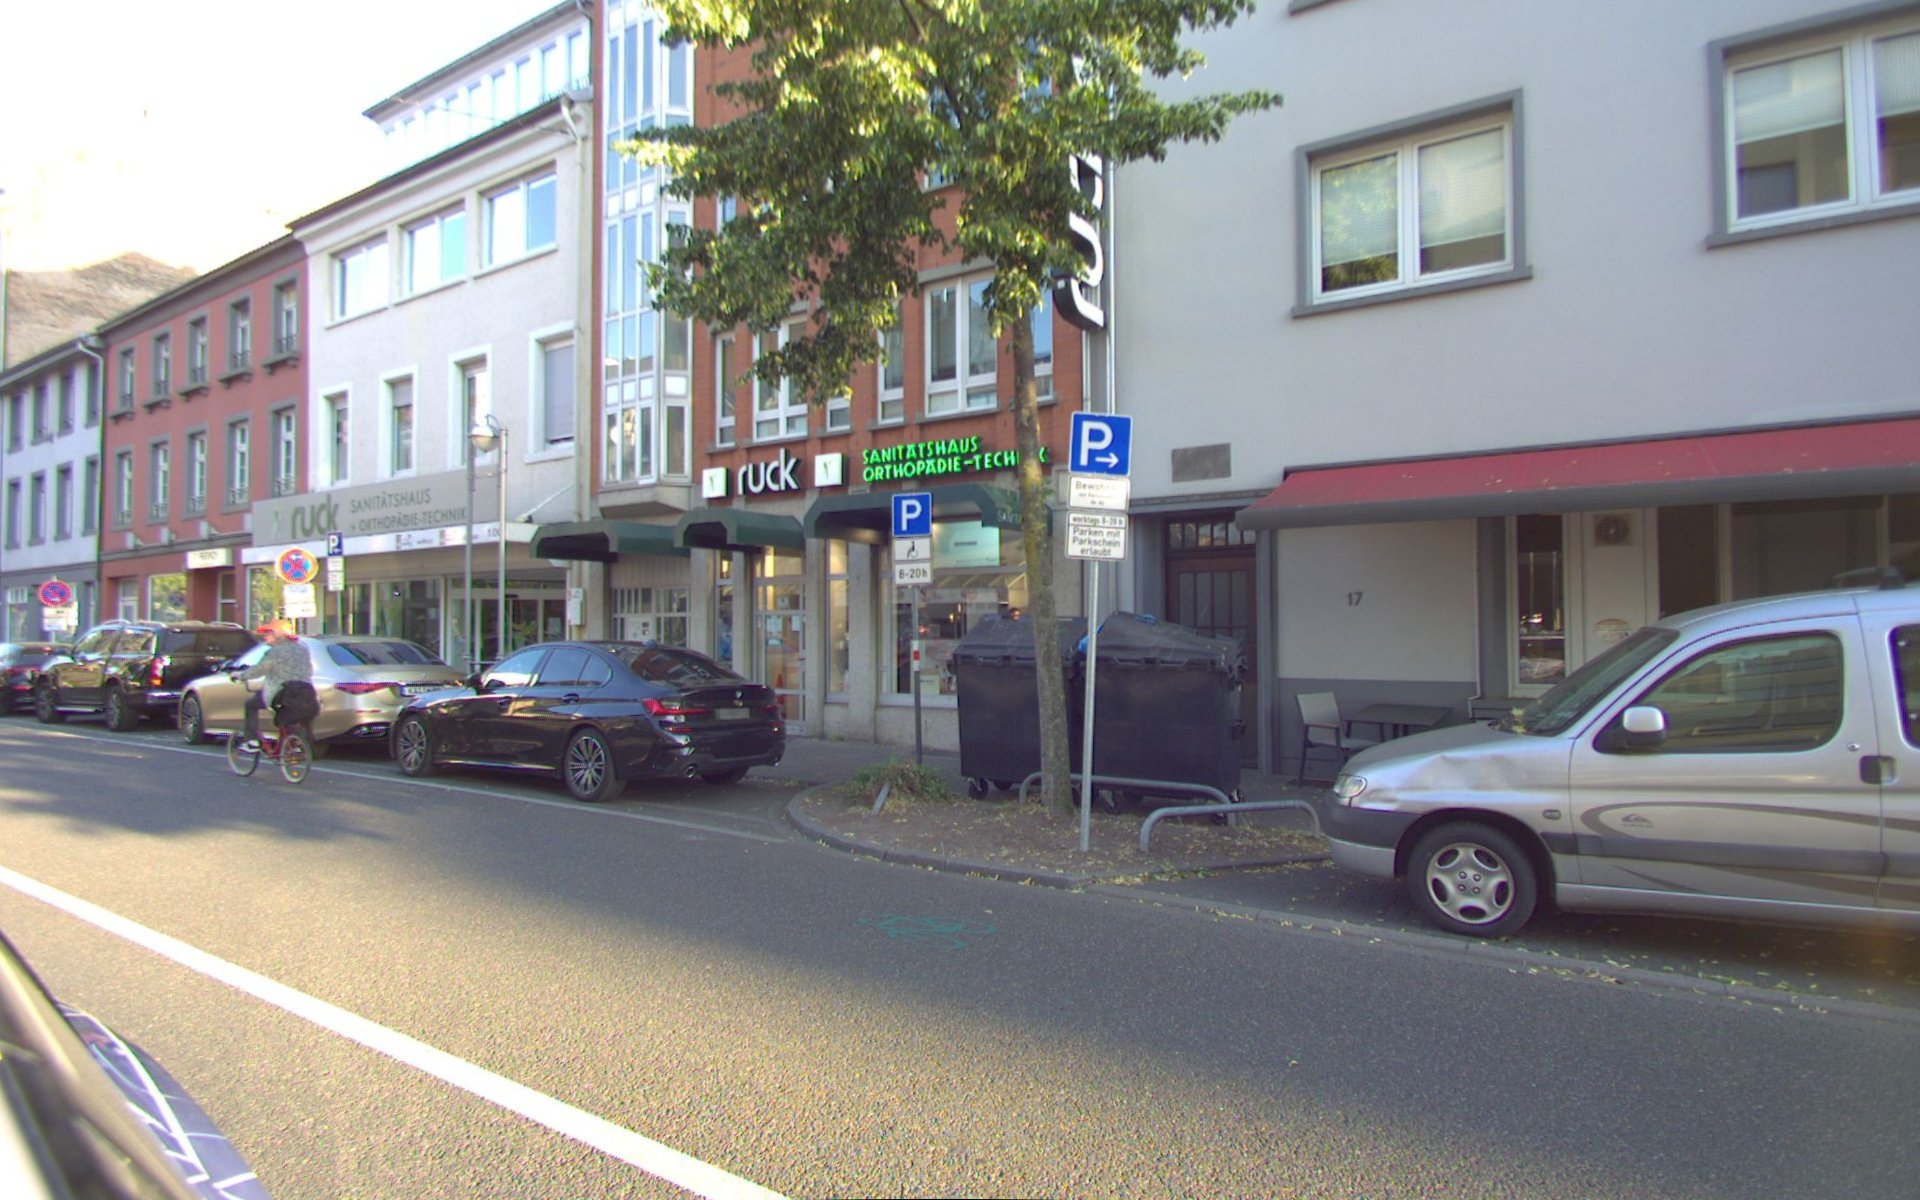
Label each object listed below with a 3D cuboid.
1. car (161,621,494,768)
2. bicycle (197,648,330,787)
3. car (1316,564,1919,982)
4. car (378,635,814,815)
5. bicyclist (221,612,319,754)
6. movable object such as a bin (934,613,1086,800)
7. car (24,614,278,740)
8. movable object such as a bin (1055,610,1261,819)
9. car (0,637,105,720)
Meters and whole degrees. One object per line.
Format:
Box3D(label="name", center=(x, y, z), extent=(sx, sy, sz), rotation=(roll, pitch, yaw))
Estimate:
Box3D(label="car", center=(-8.429, 1.140, 13.341), extent=(4.931, 1.612, 1.875), rotation=(-2, -3, 34))
Box3D(label="bicycle", center=(-6.893, 1.120, 9.988), extent=(1.688, 1.246, 0.416), rotation=(-1, 0, 31))
Box3D(label="car", center=(3.982, 0.692, 4.966), extent=(3.984, 1.676, 1.703), rotation=(-1, 0, 30))
Box3D(label="car", center=(-3.726, 1.079, 10.132), extent=(4.403, 1.403, 1.786), rotation=(-1, -1, 32))
Box3D(label="bicyclist", center=(-6.738, 0.782, 9.888), extent=(0.658, 1.312, 0.563), rotation=(-1, 0, 32))
Box3D(label="movable object such as a bin", center=(0.447, 0.909, 9.048), extent=(1.097, 1.547, 0.740), rotation=(-2, -1, 33))
Box3D(label="car", center=(-13.977, 1.264, 17.407), extent=(4.932, 1.898, 1.952), rotation=(-2, -3, 33))
Box3D(label="movable object such as a bin", center=(1.620, 0.867, 8.313), extent=(1.480, 1.555, 0.745), rotation=(-1, 0, 33))
Box3D(label="car", center=(-19.185, 1.536, 20.569), extent=(3.831, 1.536, 1.718), rotation=(-2, -2, 33))
